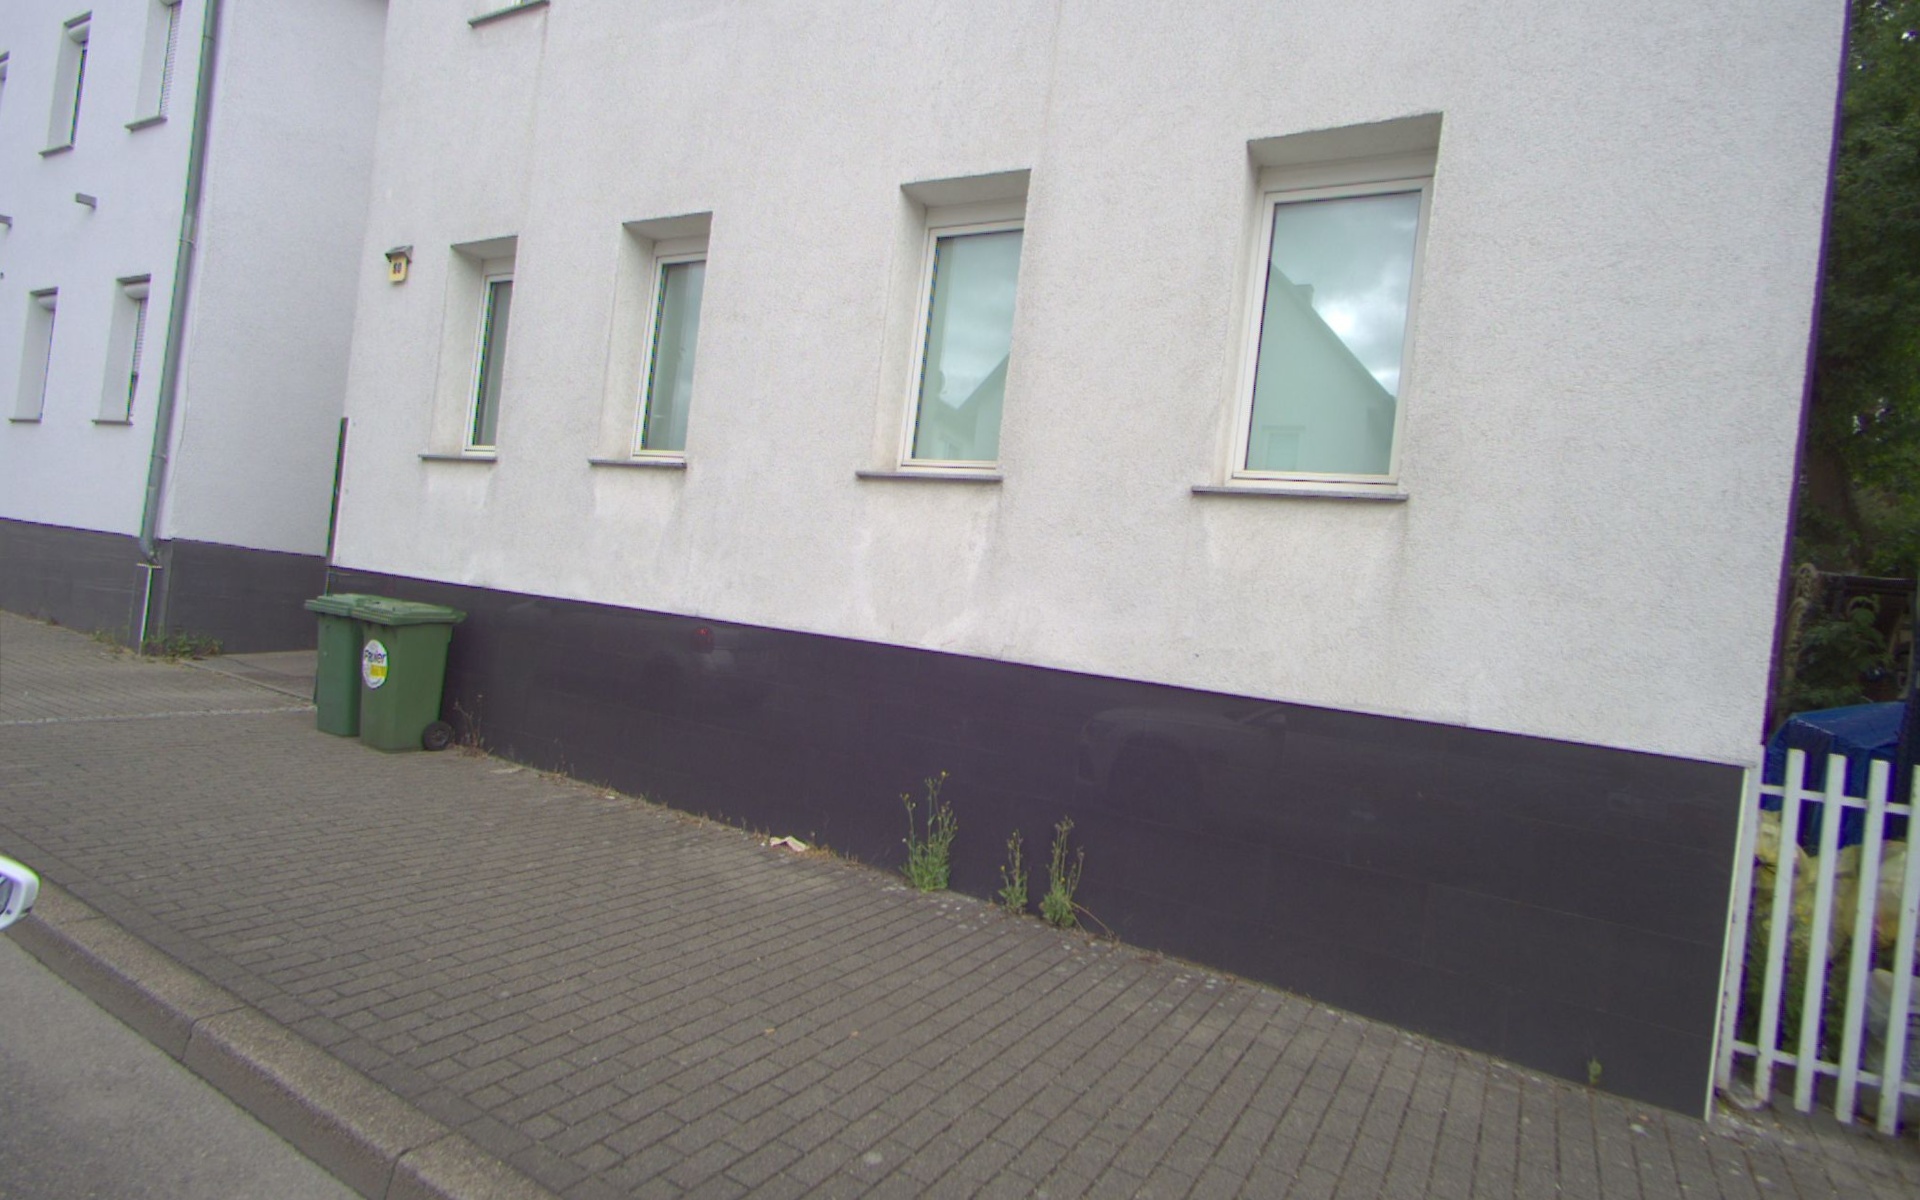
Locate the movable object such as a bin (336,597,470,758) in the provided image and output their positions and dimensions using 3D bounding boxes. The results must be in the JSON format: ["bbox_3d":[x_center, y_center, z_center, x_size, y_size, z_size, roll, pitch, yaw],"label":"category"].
[{"bbox_3d":[-3.618,0.486,6.544,0.479,0.953,0.540,7,2,32],"label":"movable object such as a bin"}]

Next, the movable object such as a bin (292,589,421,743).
[{"bbox_3d":[-4.076,0.432,6.801,0.479,0.953,0.540,7,2,32],"label":"movable object such as a bin"}]
